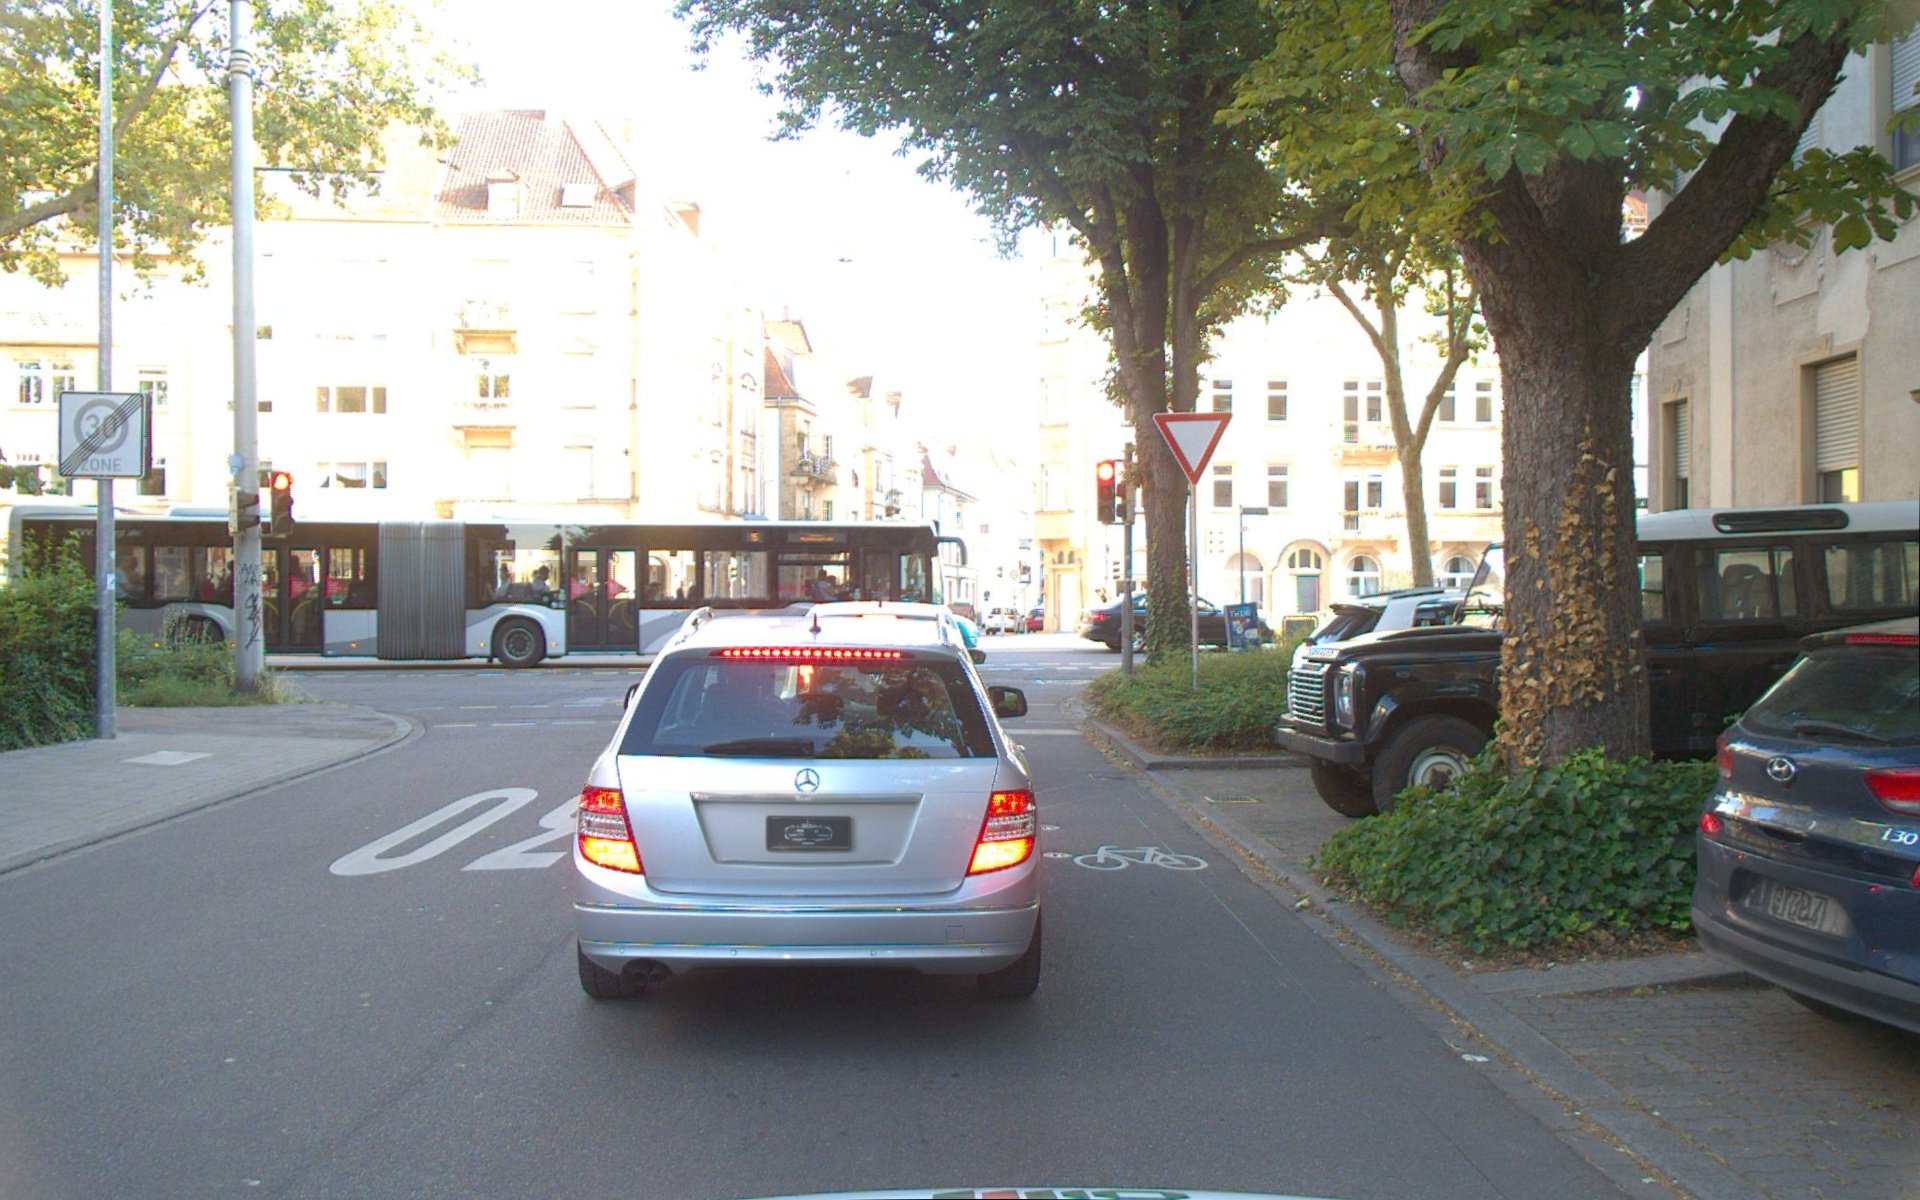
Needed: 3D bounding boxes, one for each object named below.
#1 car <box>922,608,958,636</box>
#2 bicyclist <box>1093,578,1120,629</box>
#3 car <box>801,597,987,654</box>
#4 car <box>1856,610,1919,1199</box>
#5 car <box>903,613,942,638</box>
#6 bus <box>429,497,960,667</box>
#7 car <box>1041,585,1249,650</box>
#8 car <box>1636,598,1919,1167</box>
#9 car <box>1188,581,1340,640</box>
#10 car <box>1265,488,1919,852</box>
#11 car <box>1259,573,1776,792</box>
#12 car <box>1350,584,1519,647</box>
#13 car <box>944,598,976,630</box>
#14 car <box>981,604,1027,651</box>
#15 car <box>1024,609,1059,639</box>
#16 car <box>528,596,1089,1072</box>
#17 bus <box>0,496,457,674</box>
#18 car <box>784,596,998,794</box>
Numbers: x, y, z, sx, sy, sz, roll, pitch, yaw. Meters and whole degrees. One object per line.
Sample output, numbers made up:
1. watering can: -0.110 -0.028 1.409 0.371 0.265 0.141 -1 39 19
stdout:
1. car: -1.320 1.439 109.236 1.796 1.692 4.003 0 1 7
2. bicyclist: 5.432 0.117 61.314 0.874 1.892 0.636 0 0 -5
3. car: -1.550 0.567 37.984 4.119 1.258 1.715 0 0 -9
4. car: 4.018 0.716 2.921 3.973 1.477 1.721 -1 0 -5
5. car: -2.321 1.598 102.987 1.796 1.427 4.003 0 1 7
6. bus: -5.289 -0.400 33.888 10.258 3.257 2.906 -1 0 -9
7. car: 4.331 0.398 39.026 4.602 1.453 1.715 0 0 -9
8. car: 4.274 0.709 5.123 3.650 1.477 1.707 -1 0 -5
9. car: 7.926 0.260 43.254 3.618 1.475 1.513 0 0 -9
10. car: 4.356 0.393 10.701 4.377 2.072 1.699 -1 0 -4
11. car: 4.496 0.634 13.669 3.650 1.597 1.707 -1 0 -5
12. car: 11.419 0.362 39.885 3.618 1.475 1.513 0 0 -9
13. car: 0.041 0.972 117.950 1.749 2.242 4.003 0 1 7
14. car: 2.312 1.396 86.432 1.987 2.319 4.003 0 1 7
15. car: 5.069 1.465 102.506 1.796 1.775 4.003 0 1 7
16. car: -0.562 0.732 7.458 1.741 1.477 4.546 1 0 -2
17. bus: -14.270 -0.319 32.423 8.024 3.257 2.906 -1 0 -9
18. car: -0.605 0.708 14.548 1.587 1.472 4.342 1 0 -2
